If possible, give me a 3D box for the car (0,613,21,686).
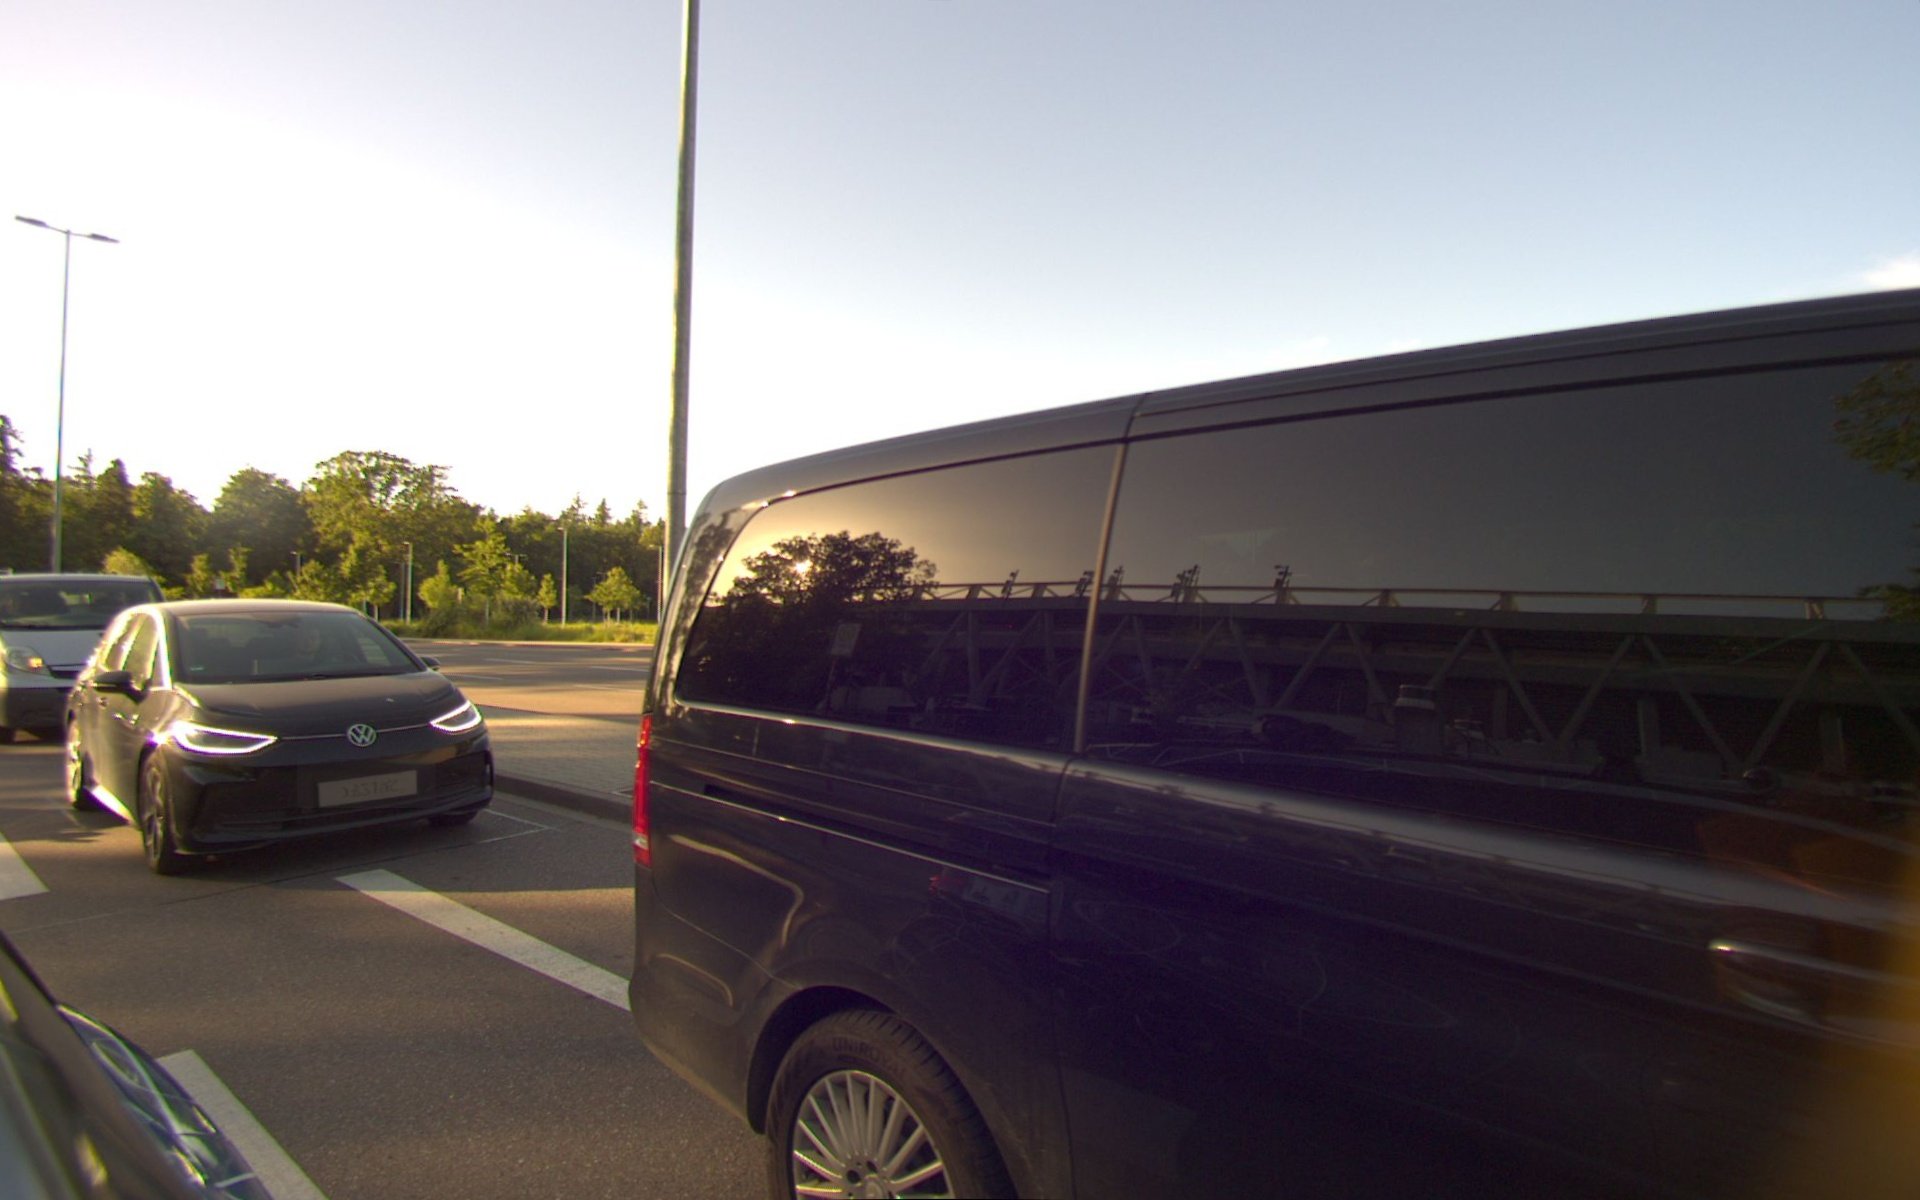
[{"bbox_3d":[-22.495,1.095,22.433,5.044,1.535,1.859,-1,0,40],"label":"car"}]

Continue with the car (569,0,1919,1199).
[{"bbox_3d":[1.510,0.325,1.565,4.871,1.870,1.887,-3,-1,41],"label":"car"}]

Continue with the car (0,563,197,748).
[{"bbox_3d":[-11.694,0.634,13.055,5.044,1.977,1.859,-1,0,40],"label":"car"}]

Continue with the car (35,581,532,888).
[{"bbox_3d":[-4.887,0.672,7.101,3.997,1.548,1.859,0,0,40],"label":"car"}]
